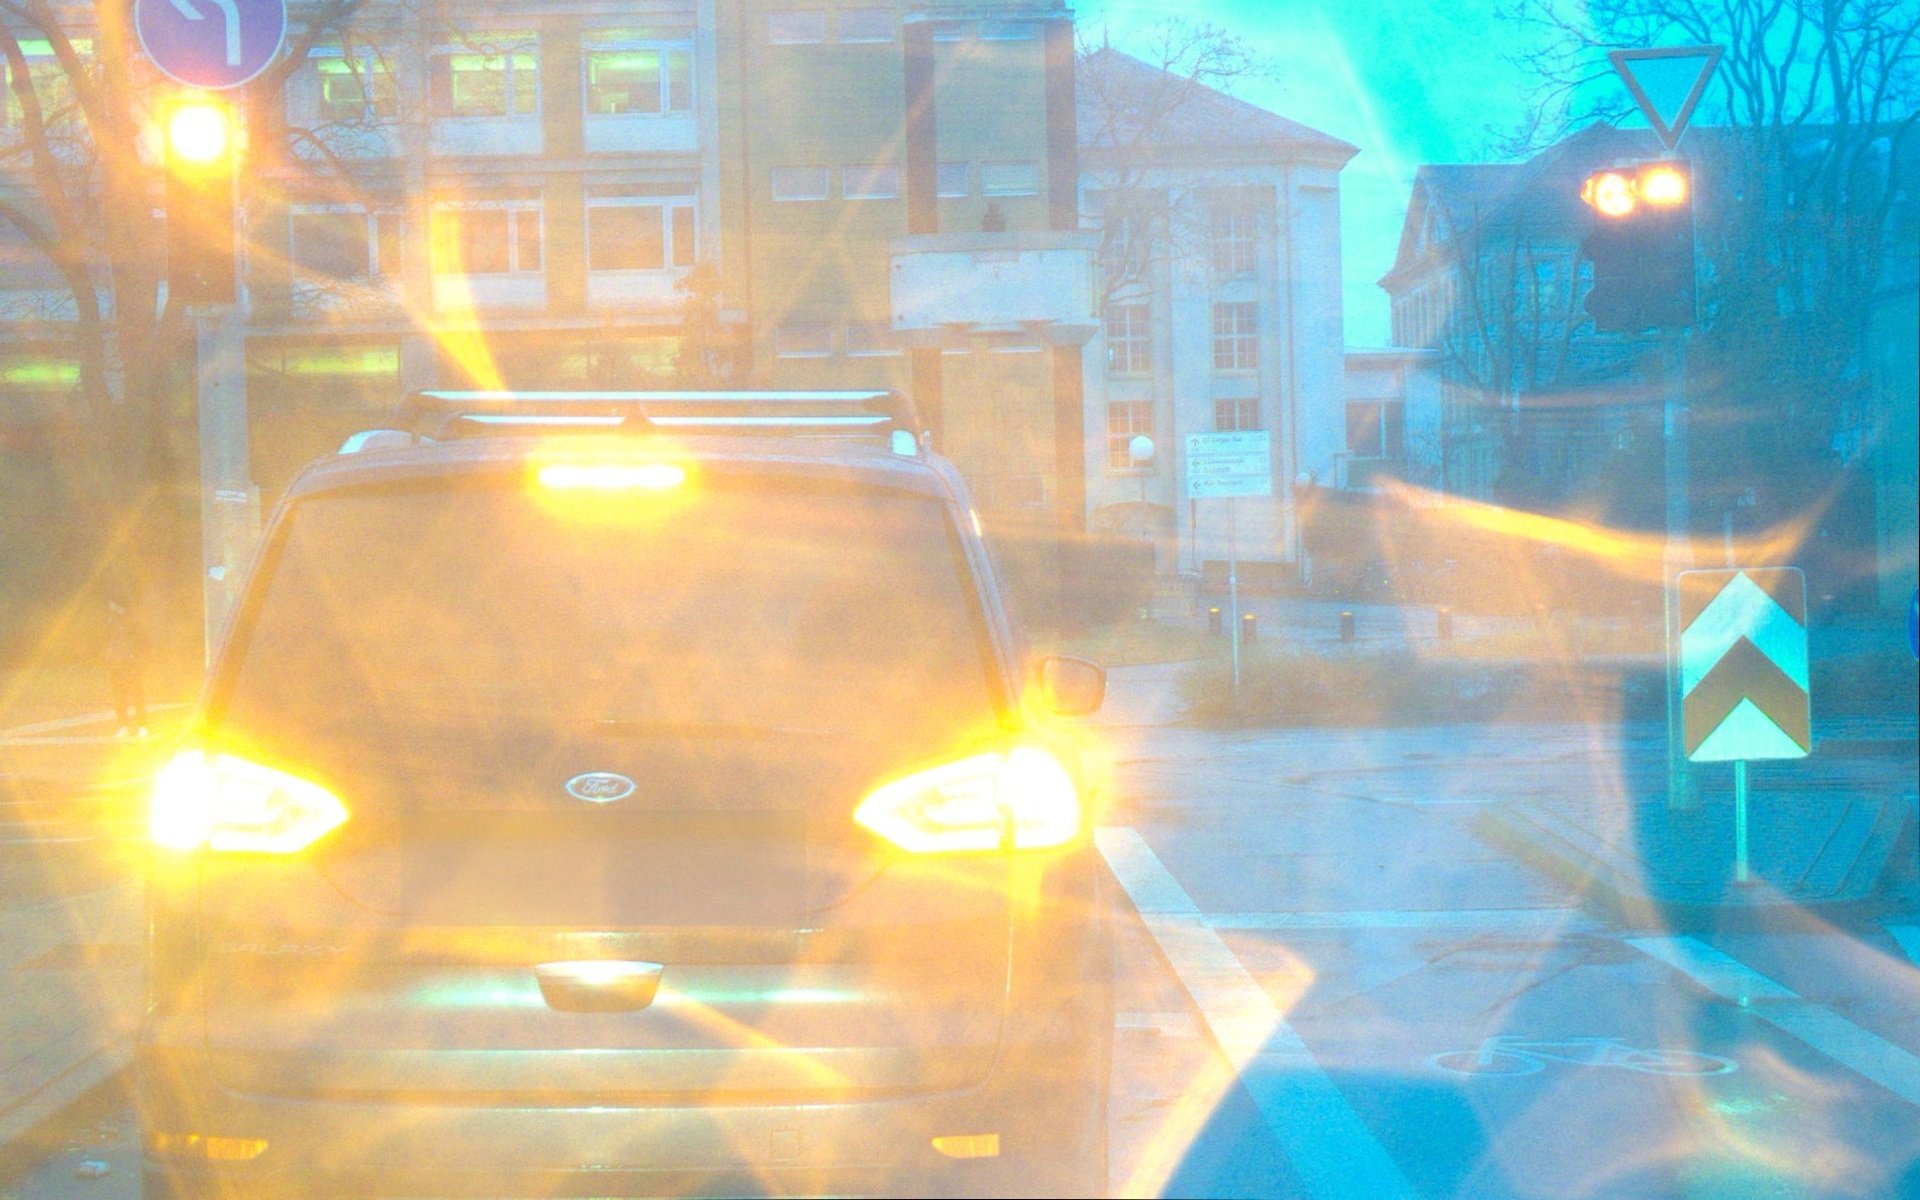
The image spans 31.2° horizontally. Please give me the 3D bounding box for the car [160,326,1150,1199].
[{"bbox_3d":[-0.534,0.412,7.737,1.647,1.812,4.000,0,1,-1],"label":"car"}]

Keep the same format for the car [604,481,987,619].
[{"bbox_3d":[-2.449,-0.734,52.030,5.548,2.017,1.999,0,-1,6],"label":"car"}]

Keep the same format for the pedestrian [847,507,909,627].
[{"bbox_3d":[-1.146,-0.456,47.904,0.684,1.655,0.677,1,-1,-18],"label":"pedestrian"}]
